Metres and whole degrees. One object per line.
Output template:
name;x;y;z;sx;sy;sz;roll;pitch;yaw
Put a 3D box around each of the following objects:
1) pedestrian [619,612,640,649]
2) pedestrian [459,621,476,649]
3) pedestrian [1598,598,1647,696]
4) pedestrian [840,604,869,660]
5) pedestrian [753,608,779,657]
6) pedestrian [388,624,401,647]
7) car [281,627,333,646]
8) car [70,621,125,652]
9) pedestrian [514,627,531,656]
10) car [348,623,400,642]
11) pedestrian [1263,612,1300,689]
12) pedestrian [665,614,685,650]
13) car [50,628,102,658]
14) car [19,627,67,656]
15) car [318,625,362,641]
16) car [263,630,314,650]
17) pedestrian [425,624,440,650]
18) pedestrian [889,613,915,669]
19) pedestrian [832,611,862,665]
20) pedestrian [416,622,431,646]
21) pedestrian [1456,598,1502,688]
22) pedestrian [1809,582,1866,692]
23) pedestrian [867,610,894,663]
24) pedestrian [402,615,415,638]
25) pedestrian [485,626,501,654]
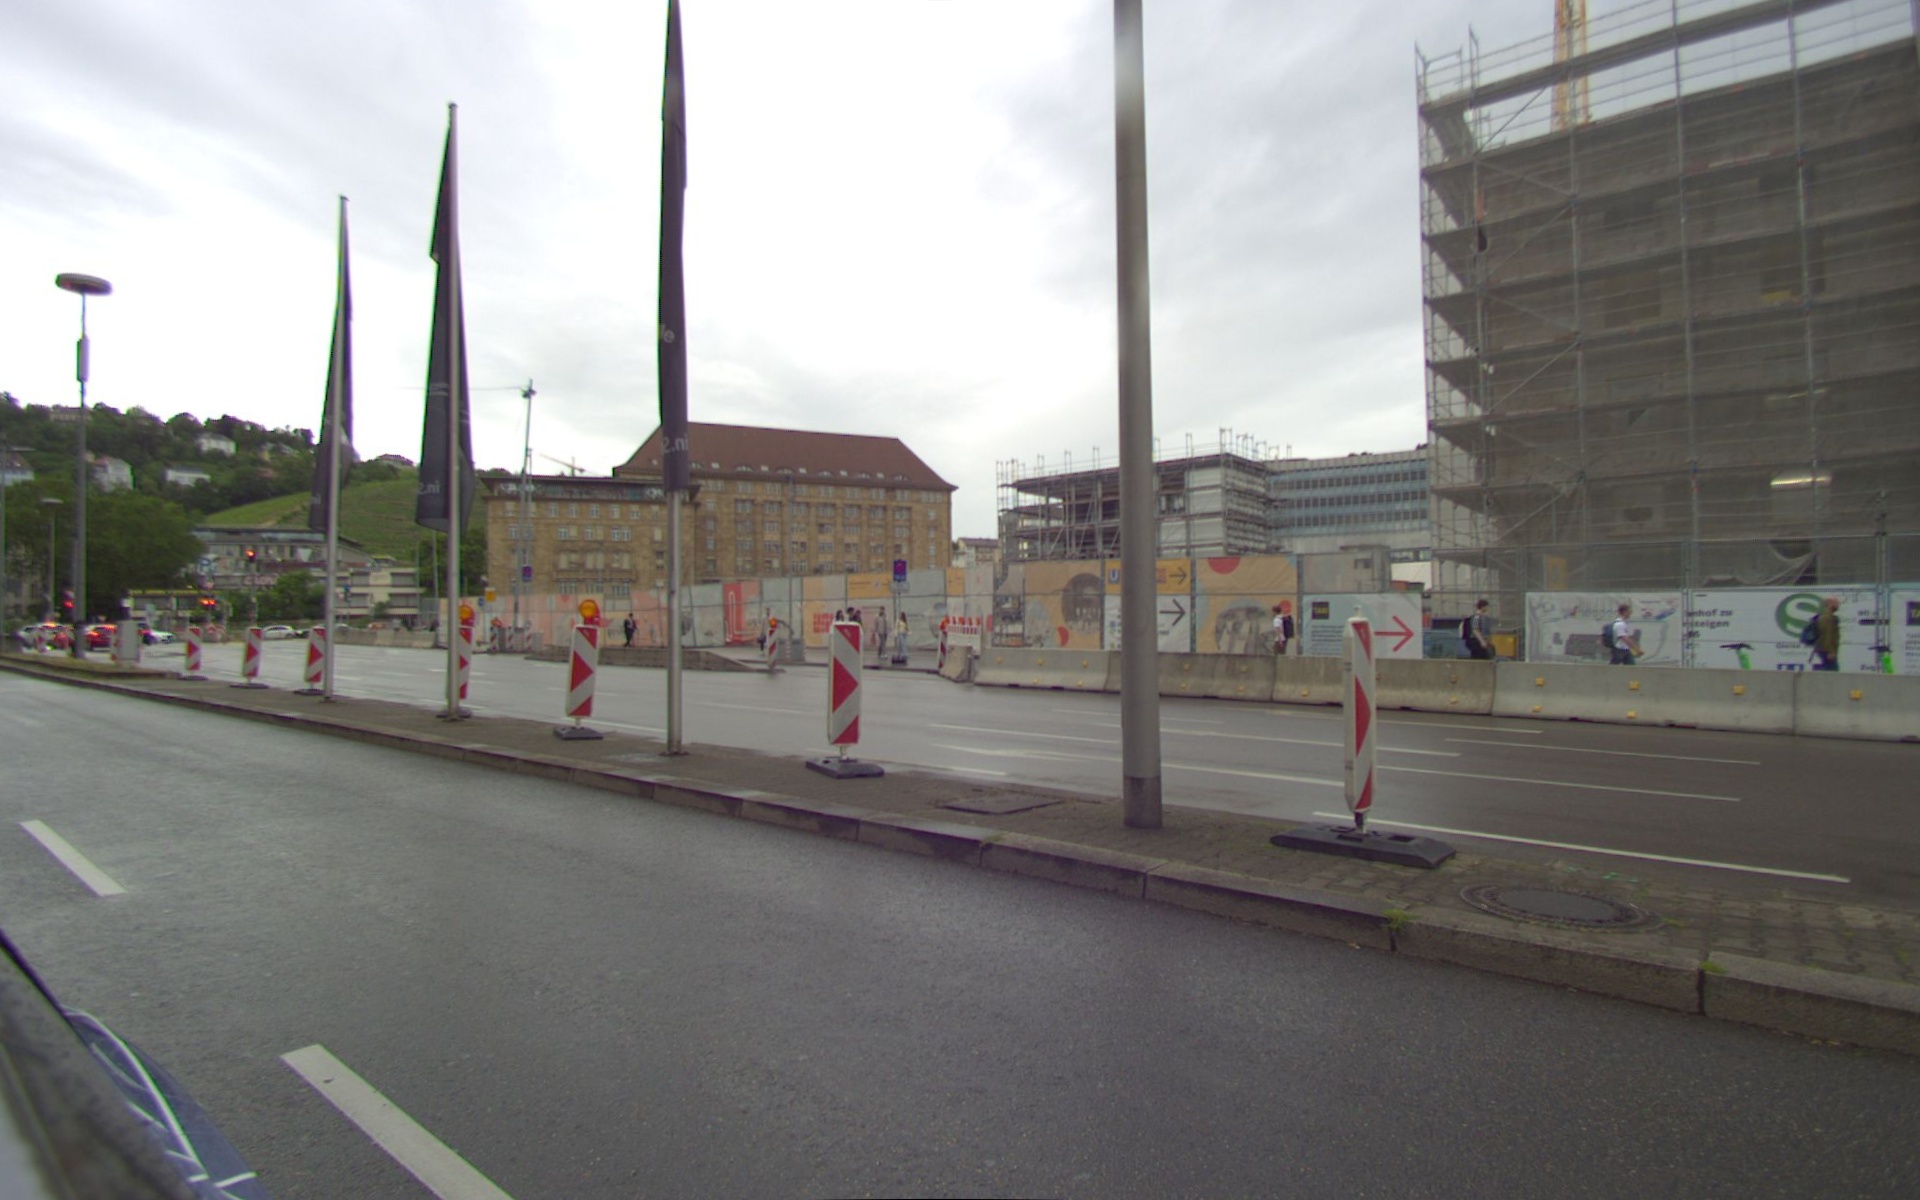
pedestrian;-15.112;1.381;46.230;0.544;1.628;0.706;-1;0;41
pedestrian;-29.519;2.085;60.665;0.544;1.628;0.706;-1;0;41
pedestrian;12.834;0.897;19.609;0.717;1.850;0.475;-1;0;41
pedestrian;-3.574;1.083;34.292;0.704;1.850;0.719;-1;0;-31
pedestrian;-7.395;1.219;38.543;0.720;1.850;0.656;-1;0;41
pedestrian;-41.084;2.544;73.476;0.705;1.628;0.544;-1;0;-44
car;-60.180;3.375;93.313;3.934;1.644;2.005;0;-2;-36
car;-48.515;2.041;56.910;3.914;1.707;1.762;-2;-2;41
pedestrian;-24.492;2.312;56.684;0.544;1.628;0.706;-1;0;41
car;-54.029;2.968;93.311;3.934;1.644;2.005;0;-2;-36
pedestrian;7.890;1.214;24.836;0.717;1.850;0.475;-1;0;41
pedestrian;-13.400;1.501;47.580;0.544;1.628;0.706;-1;0;41
car;-53.255;2.556;60.950;3.913;1.707;1.763;-1;0;40
car;-59.539;2.662;65.693;3.913;1.707;1.763;-1;0;40
car;-67.864;3.616;110.797;3.934;1.644;2.005;0;-2;-36
car;-68.687;4.101;103.517;4.136;1.871;1.833;-1;0;-44
pedestrian;-34.046;2.382;65.363;0.544;1.628;0.706;-1;0;41
pedestrian;-1.965;1.387;34.300;0.651;1.850;0.557;-1;0;-29
pedestrian;-3.723;1.228;33.303;0.704;1.746;0.719;-1;0;-31
pedestrian;-36.951;2.355;69.717;0.544;1.628;0.706;-1;0;41
pedestrian;11.011;0.899;21.468;0.717;1.850;0.579;-1;0;41
pedestrian;15.094;0.619;17.416;0.717;1.850;0.475;-1;0;41
pedestrian;-2.686;1.212;34.098;0.704;1.757;0.565;-1;0;-29
pedestrian;-40.366;1.953;74.087;0.705;1.628;0.544;-1;0;-44
pedestrian;-27.073;2.320;58.659;0.544;1.628;0.706;-1;0;41
